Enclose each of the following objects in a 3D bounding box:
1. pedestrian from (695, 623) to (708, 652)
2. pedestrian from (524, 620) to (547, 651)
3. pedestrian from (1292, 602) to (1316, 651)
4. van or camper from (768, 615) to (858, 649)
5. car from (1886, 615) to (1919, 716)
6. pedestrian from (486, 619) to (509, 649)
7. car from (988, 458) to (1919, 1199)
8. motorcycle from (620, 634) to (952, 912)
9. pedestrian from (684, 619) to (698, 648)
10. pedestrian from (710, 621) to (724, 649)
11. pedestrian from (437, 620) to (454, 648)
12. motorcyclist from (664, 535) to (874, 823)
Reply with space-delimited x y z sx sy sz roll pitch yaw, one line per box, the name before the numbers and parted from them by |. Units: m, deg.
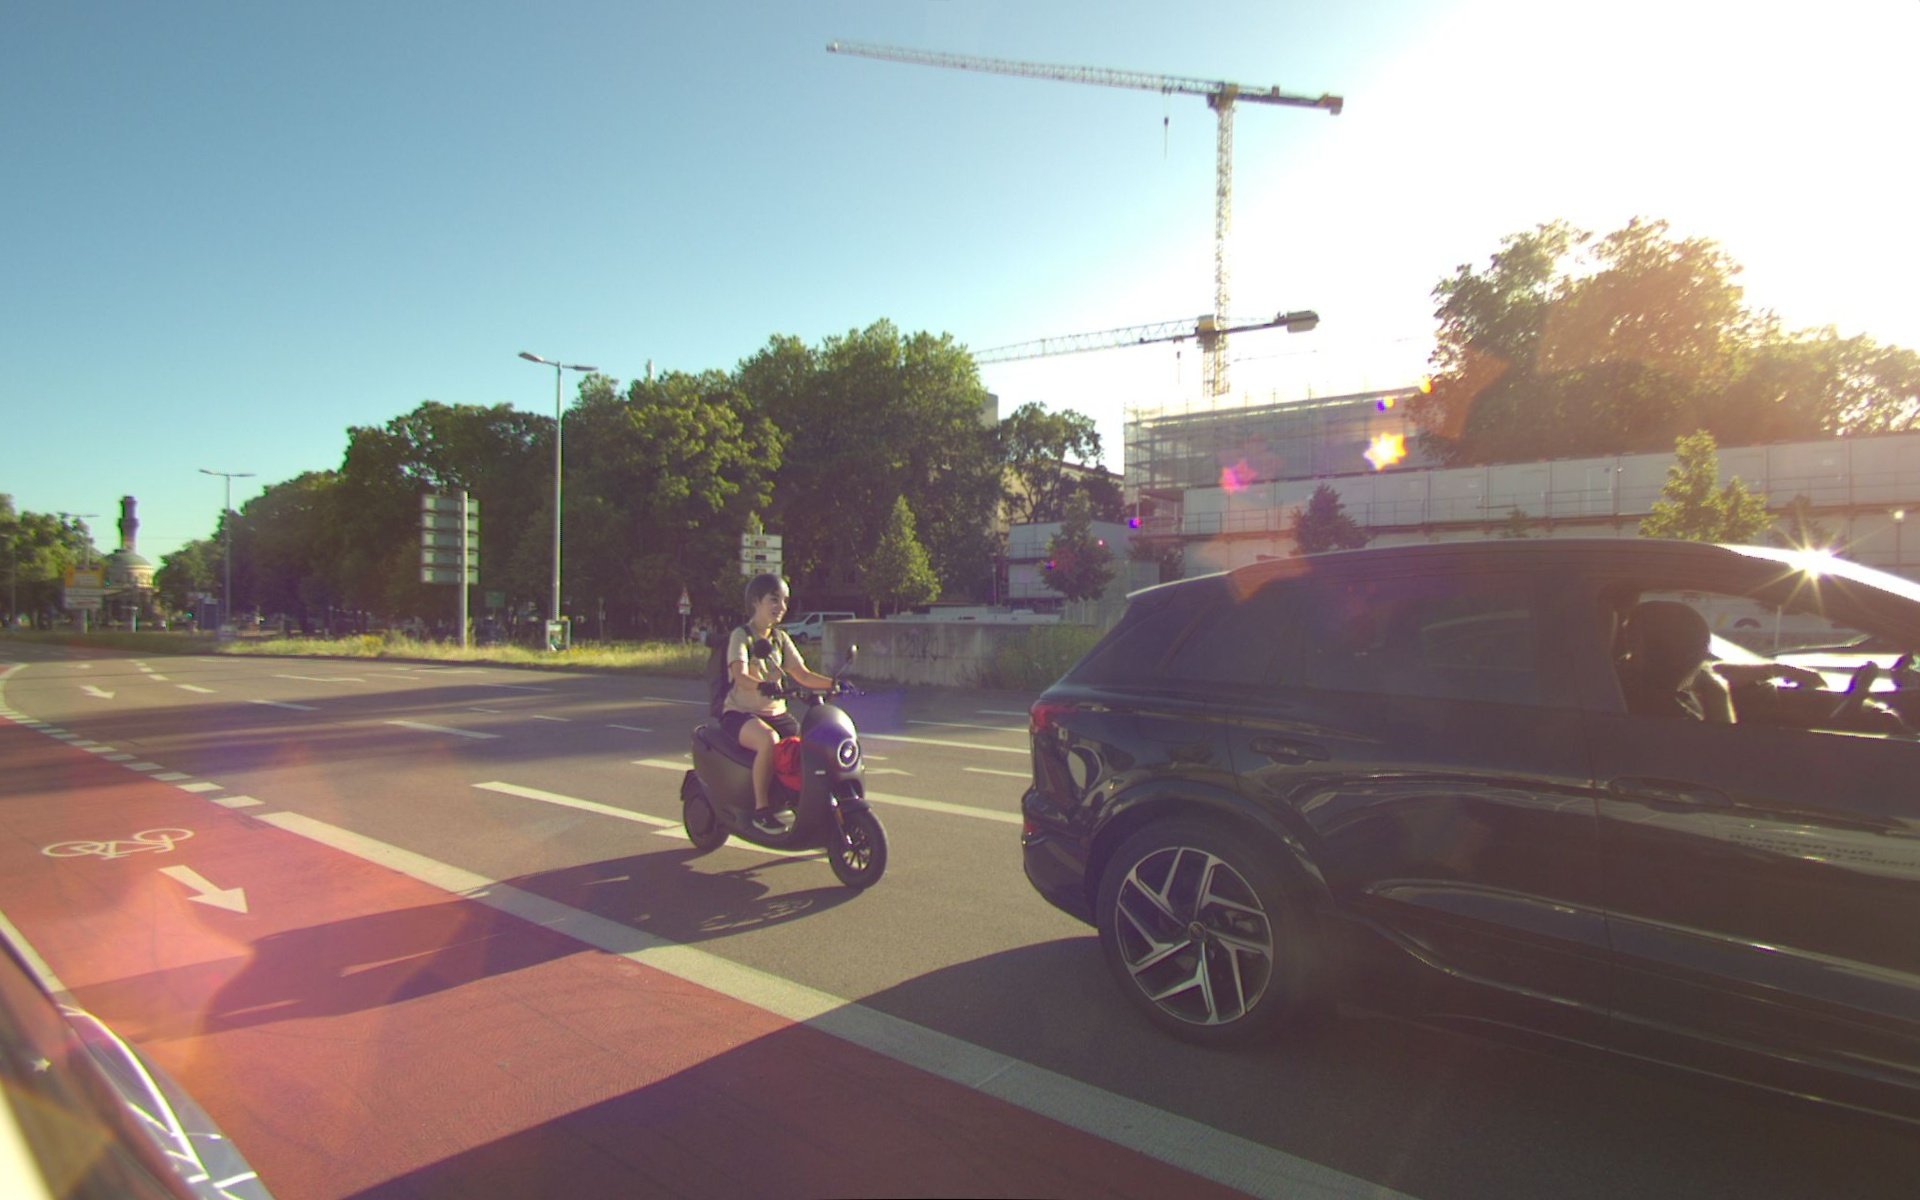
pedestrian | -13.756 2.004 53.882 0.494 1.522 0.492 -1 -2 41
pedestrian | -27.495 2.304 65.559 0.815 1.978 1.111 -1 0 41
pedestrian | 11.616 0.890 34.152 0.597 1.614 0.580 -1 0 38
van or camper | -8.959 1.932 61.901 1.951 1.960 5.425 -2 -2 44
car | 15.992 0.960 14.496 3.981 1.492 1.856 -1 -2 44
pedestrian | -31.290 2.292 68.503 1.054 1.978 0.942 -1 0 26
car | 2.584 0.551 3.168 4.660 1.720 2.144 -1 -1 39
motorcycle | -1.037 0.844 5.724 1.943 1.290 0.817 -1 -2 41
pedestrian | -14.173 1.779 53.270 0.494 1.522 0.492 -1 -2 41
pedestrian | -13.101 1.897 54.570 0.494 1.522 0.492 -1 -2 41
pedestrian | -37.516 2.476 73.775 0.941 2.029 0.843 -1 0 -16
motorcyclist | -1.087 0.417 5.783 0.877 1.475 0.813 -1 -2 41
